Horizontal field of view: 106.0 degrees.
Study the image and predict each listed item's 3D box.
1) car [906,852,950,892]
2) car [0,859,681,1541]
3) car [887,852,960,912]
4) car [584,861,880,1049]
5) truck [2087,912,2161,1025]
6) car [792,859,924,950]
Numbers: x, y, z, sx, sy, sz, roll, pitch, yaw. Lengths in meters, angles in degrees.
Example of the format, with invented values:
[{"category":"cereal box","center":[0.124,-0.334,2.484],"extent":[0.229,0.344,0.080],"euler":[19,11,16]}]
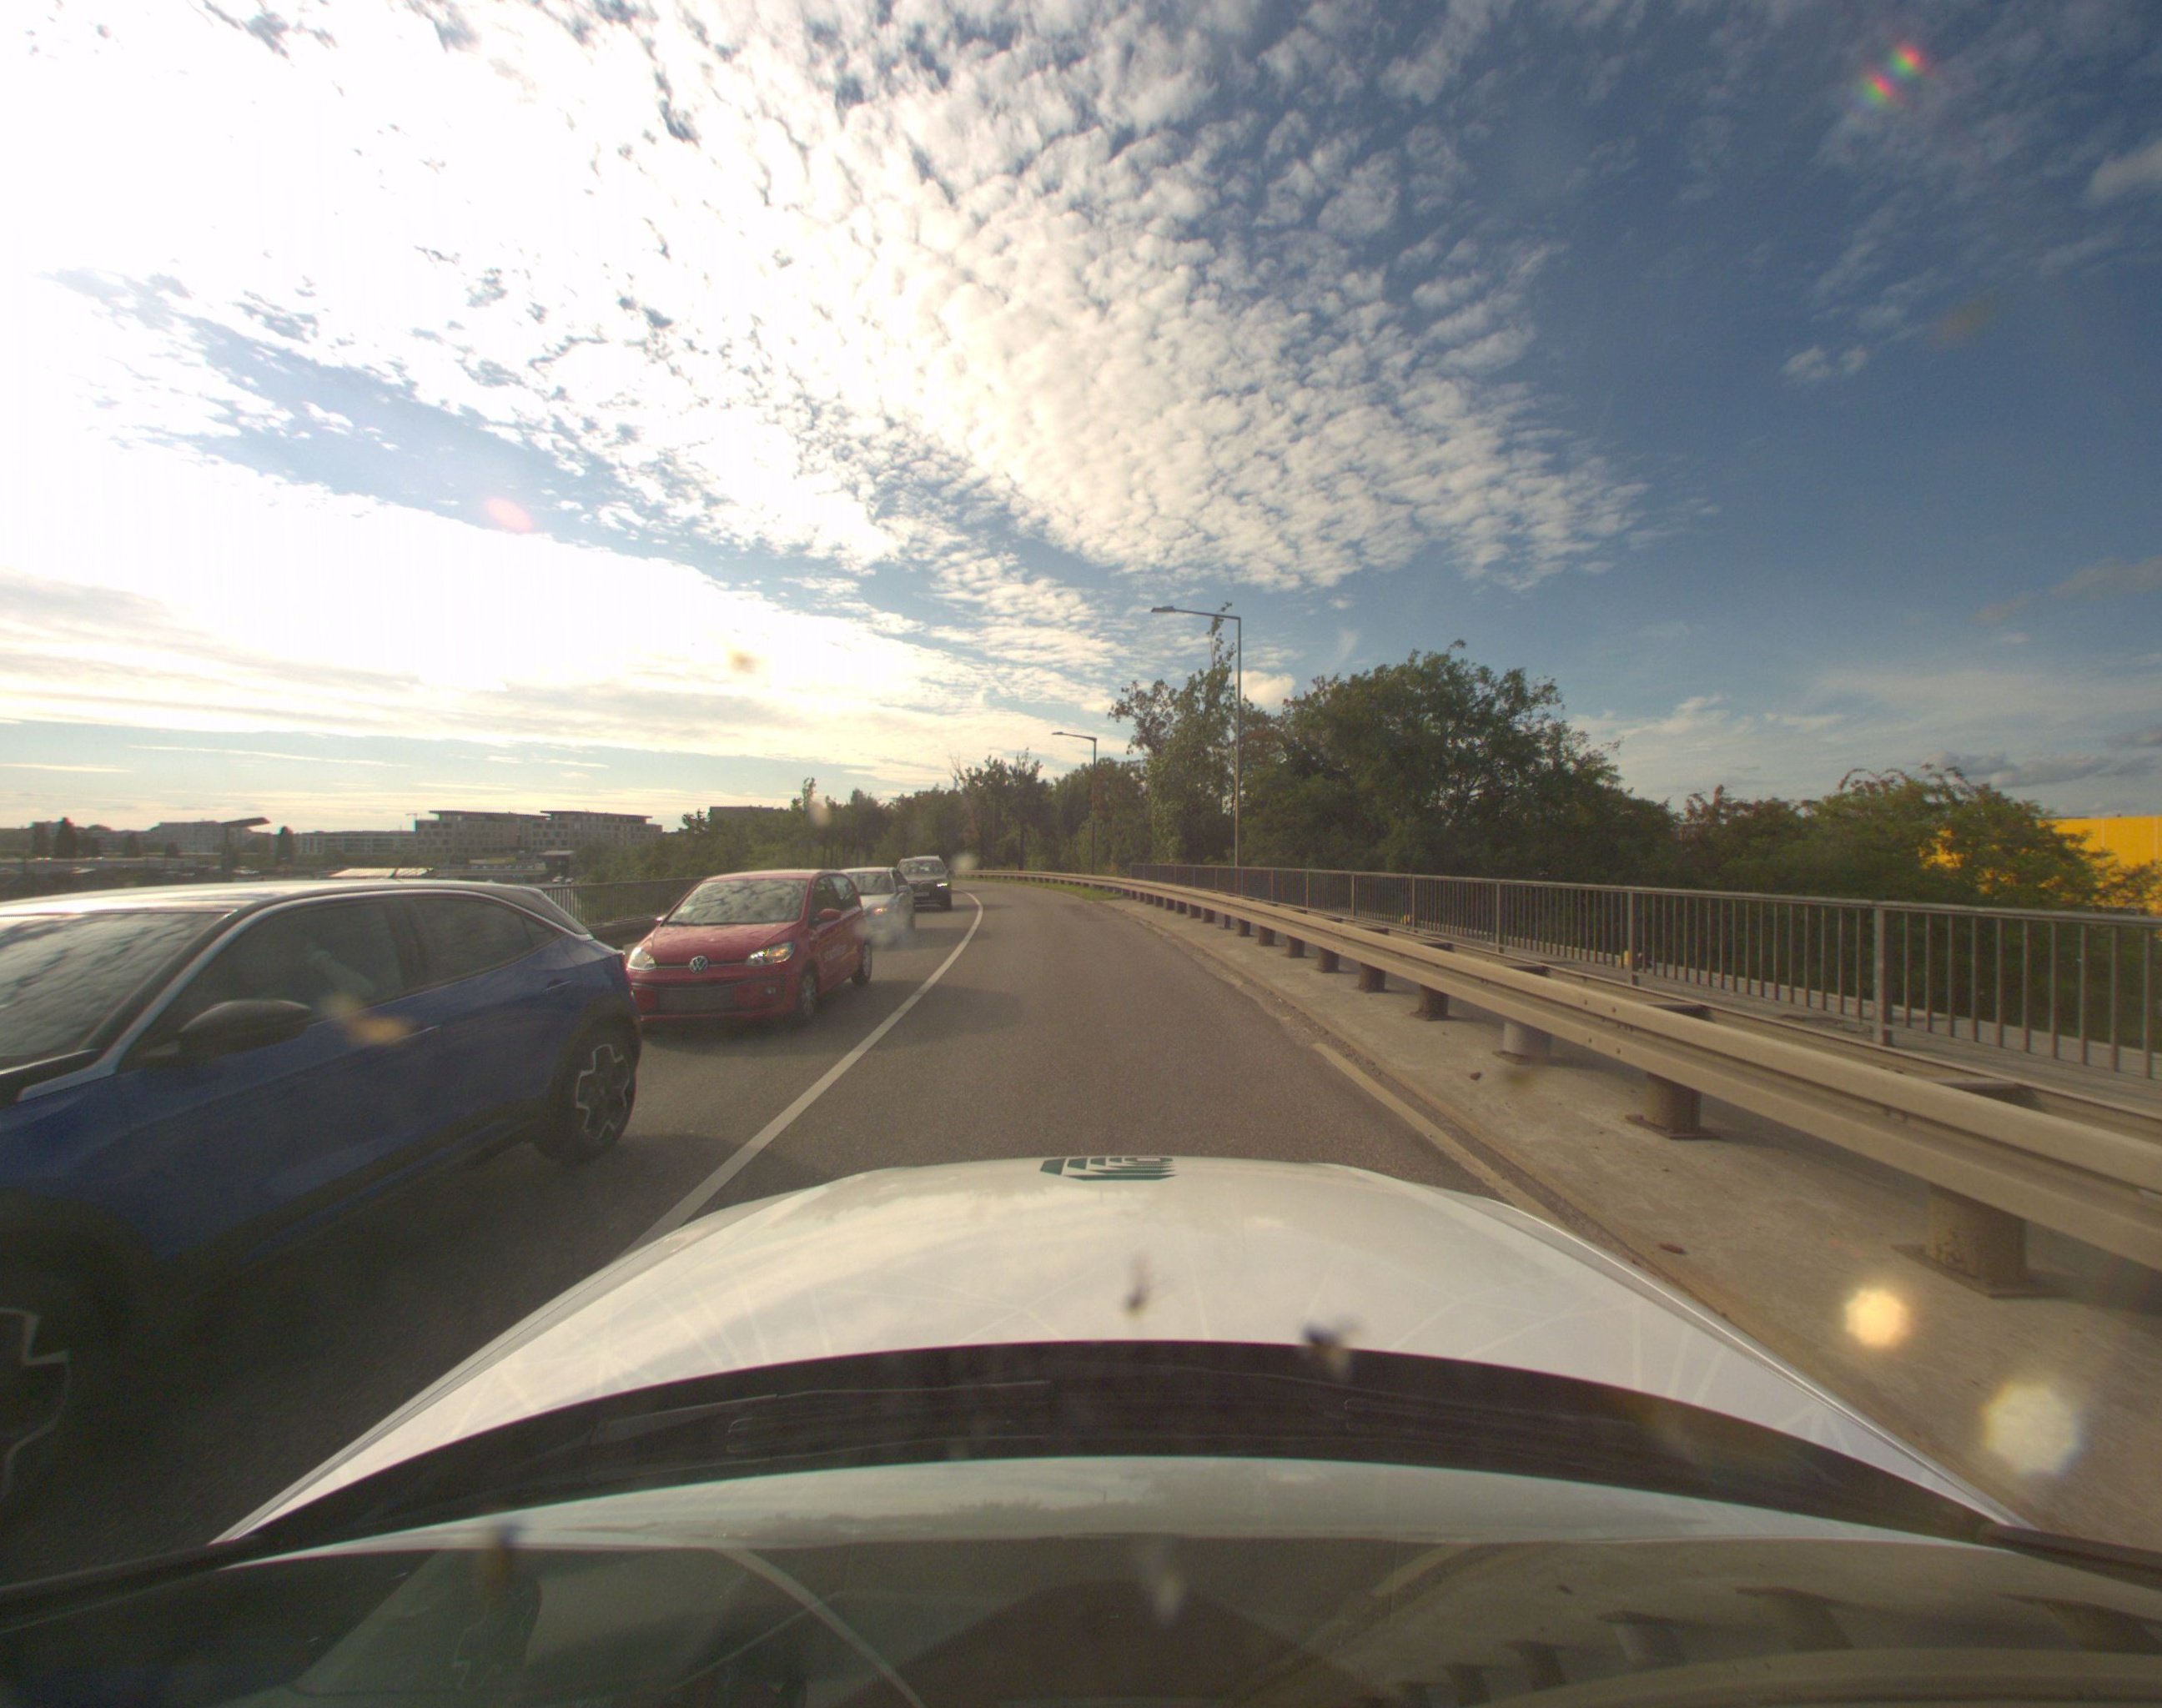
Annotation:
[{"category":"car","center":[-7.723,0.871,40.766],"extent":[1.903,1.810,5.380],"euler":[-2,0,-13]},{"category":"car","center":[-3.370,0.824,2.988],"extent":[1.793,1.520,4.006],"euler":[-2,0,-1]},{"category":"car","center":[-4.936,0.825,26.049],"extent":[1.888,1.649,4.631],"euler":[-2,0,-7]},{"category":"car","center":[-3.356,0.853,8.646],"extent":[1.595,1.464,3.733],"euler":[-2,0,-2]},{"category":"truck","center":[58.466,6.171,40.883],"extent":[3.605,5.659,11.315],"euler":[-2,0,12]},{"category":"car","center":[-4.261,0.887,16.235],"extent":[1.729,1.455,4.258],"euler":[-2,0,-5]}]
